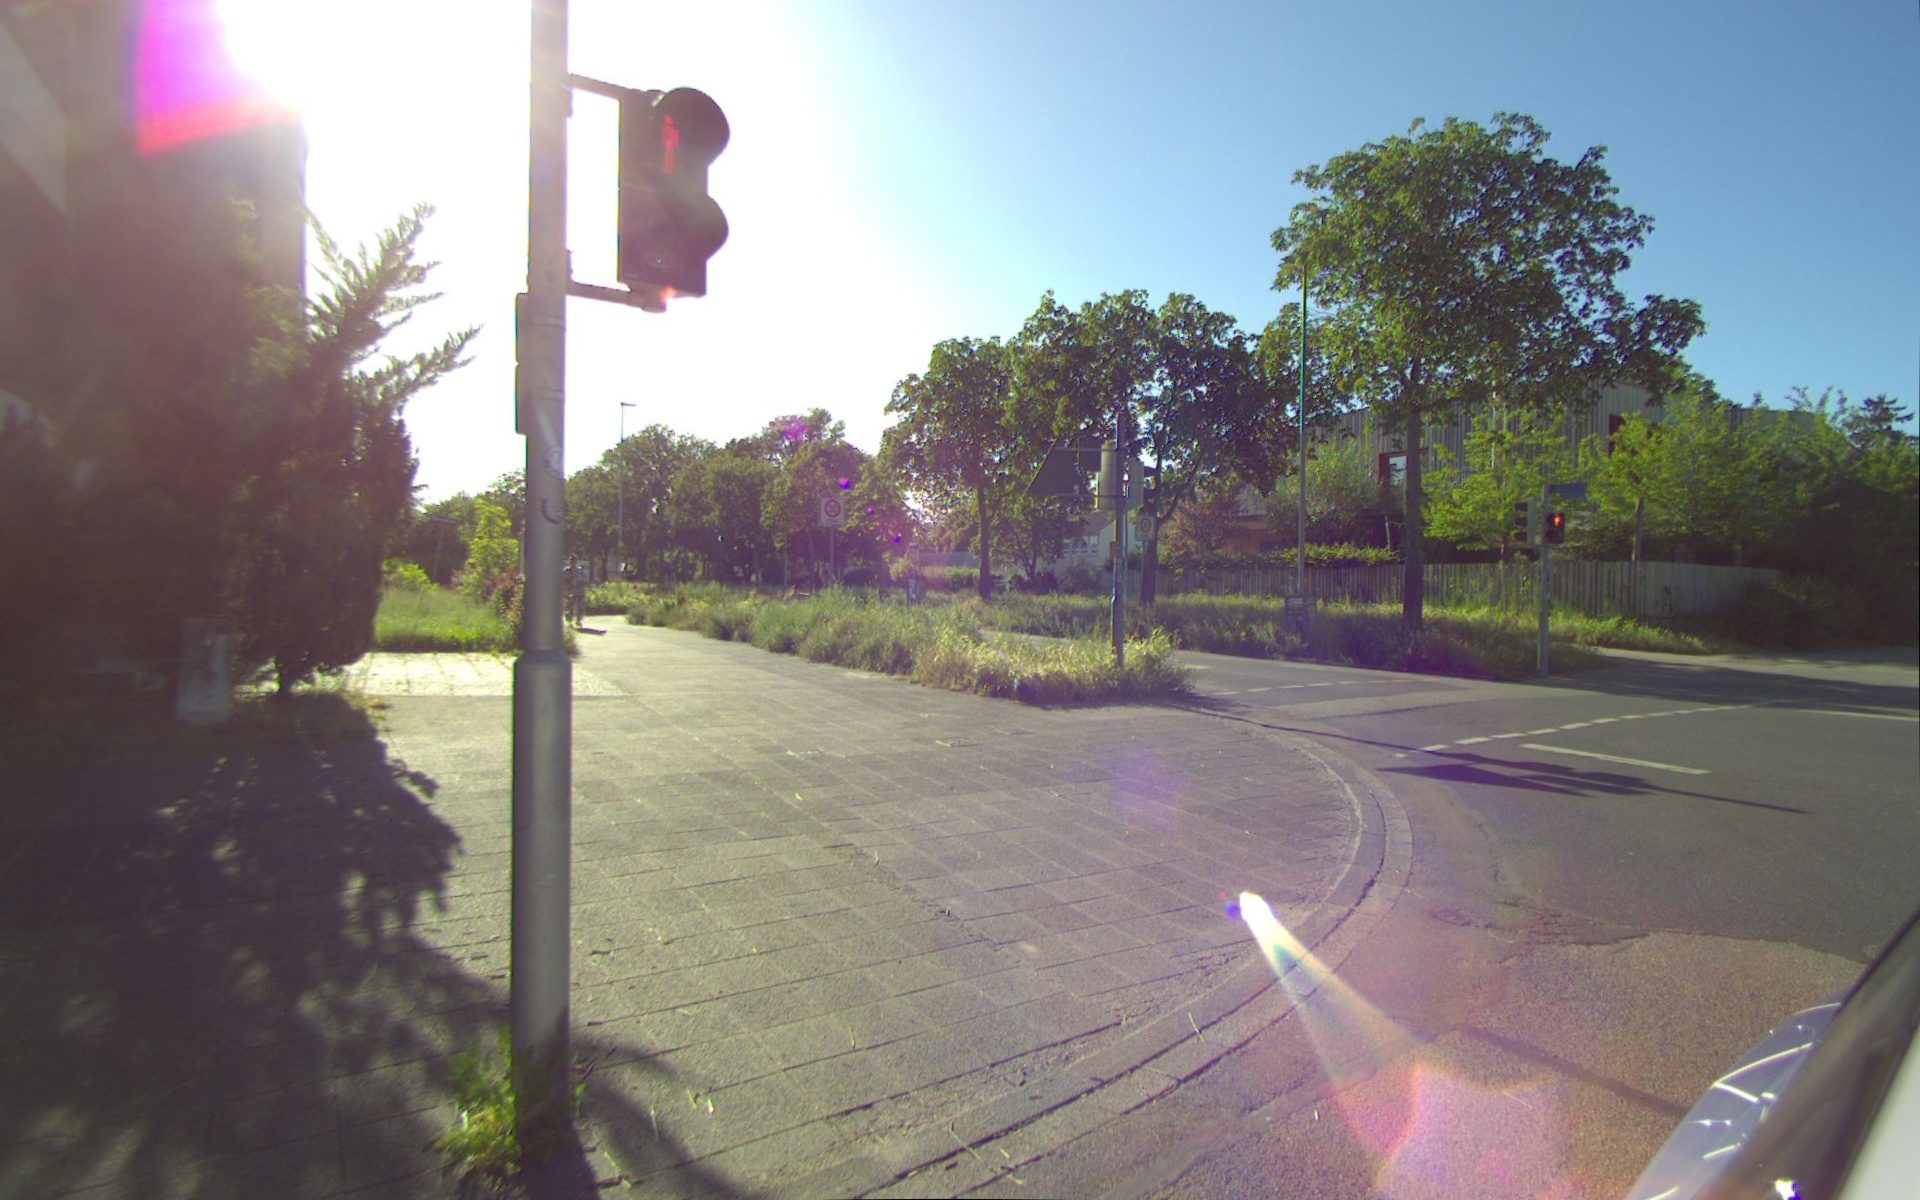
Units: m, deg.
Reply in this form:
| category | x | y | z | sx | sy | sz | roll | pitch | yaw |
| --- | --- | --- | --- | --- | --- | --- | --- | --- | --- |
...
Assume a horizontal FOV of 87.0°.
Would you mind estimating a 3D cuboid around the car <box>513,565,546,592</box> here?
| category | x | y | z | sx | sy | sz | roll | pitch | yaw |
| --- | --- | --- | --- | --- | --- | --- | --- | --- | --- |
| car | -27.343 | -1.365 | 64.217 | 1.468 | 1.593 | 3.605 | -3 | 3 | -29 |

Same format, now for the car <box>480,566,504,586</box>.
| category | x | y | z | sx | sy | sz | roll | pitch | yaw |
| --- | --- | --- | --- | --- | --- | --- | --- | --- | --- |
| car | -39.394 | -2.055 | 85.099 | 1.698 | 1.597 | 3.864 | 1 | 1 | -27 |

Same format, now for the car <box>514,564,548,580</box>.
| category | x | y | z | sx | sy | sz | roll | pitch | yaw |
| --- | --- | --- | --- | --- | --- | --- | --- | --- | --- |
| car | -69.709 | -4.577 | 164.503 | 5.022 | 2.644 | 2.129 | -1 | 2 | -27 |

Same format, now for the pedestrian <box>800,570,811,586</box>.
| category | x | y | z | sx | sy | sz | roll | pitch | yaw |
| --- | --- | --- | --- | --- | --- | --- | --- | --- | --- |
| pedestrian | -11.524 | -1.616 | 75.343 | 0.627 | 1.171 | 0.522 | -4 | 3 | -31 |

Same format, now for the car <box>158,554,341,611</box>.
| category | x | y | z | sx | sy | sz | roll | pitch | yaw |
| --- | --- | --- | --- | --- | --- | --- | --- | --- | --- |
| car | -20.244 | -0.495 | 29.073 | 4.123 | 1.521 | 1.808 | 0 | 0 | -29 |

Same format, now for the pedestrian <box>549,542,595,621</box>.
| category | x | y | z | sx | sy | sz | roll | pitch | yaw |
| --- | --- | --- | --- | --- | --- | --- | --- | --- | --- |
| pedestrian | -9.320 | -0.460 | 24.313 | 0.885 | 1.844 | 0.736 | -1 | 2 | -35 |

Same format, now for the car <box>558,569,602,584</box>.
| category | x | y | z | sx | sy | sz | roll | pitch | yaw |
| --- | --- | --- | --- | --- | --- | --- | --- | --- | --- |
| car | -40.657 | -2.510 | 108.358 | 4.123 | 1.580 | 2.003 | -1 | 2 | -29 |
